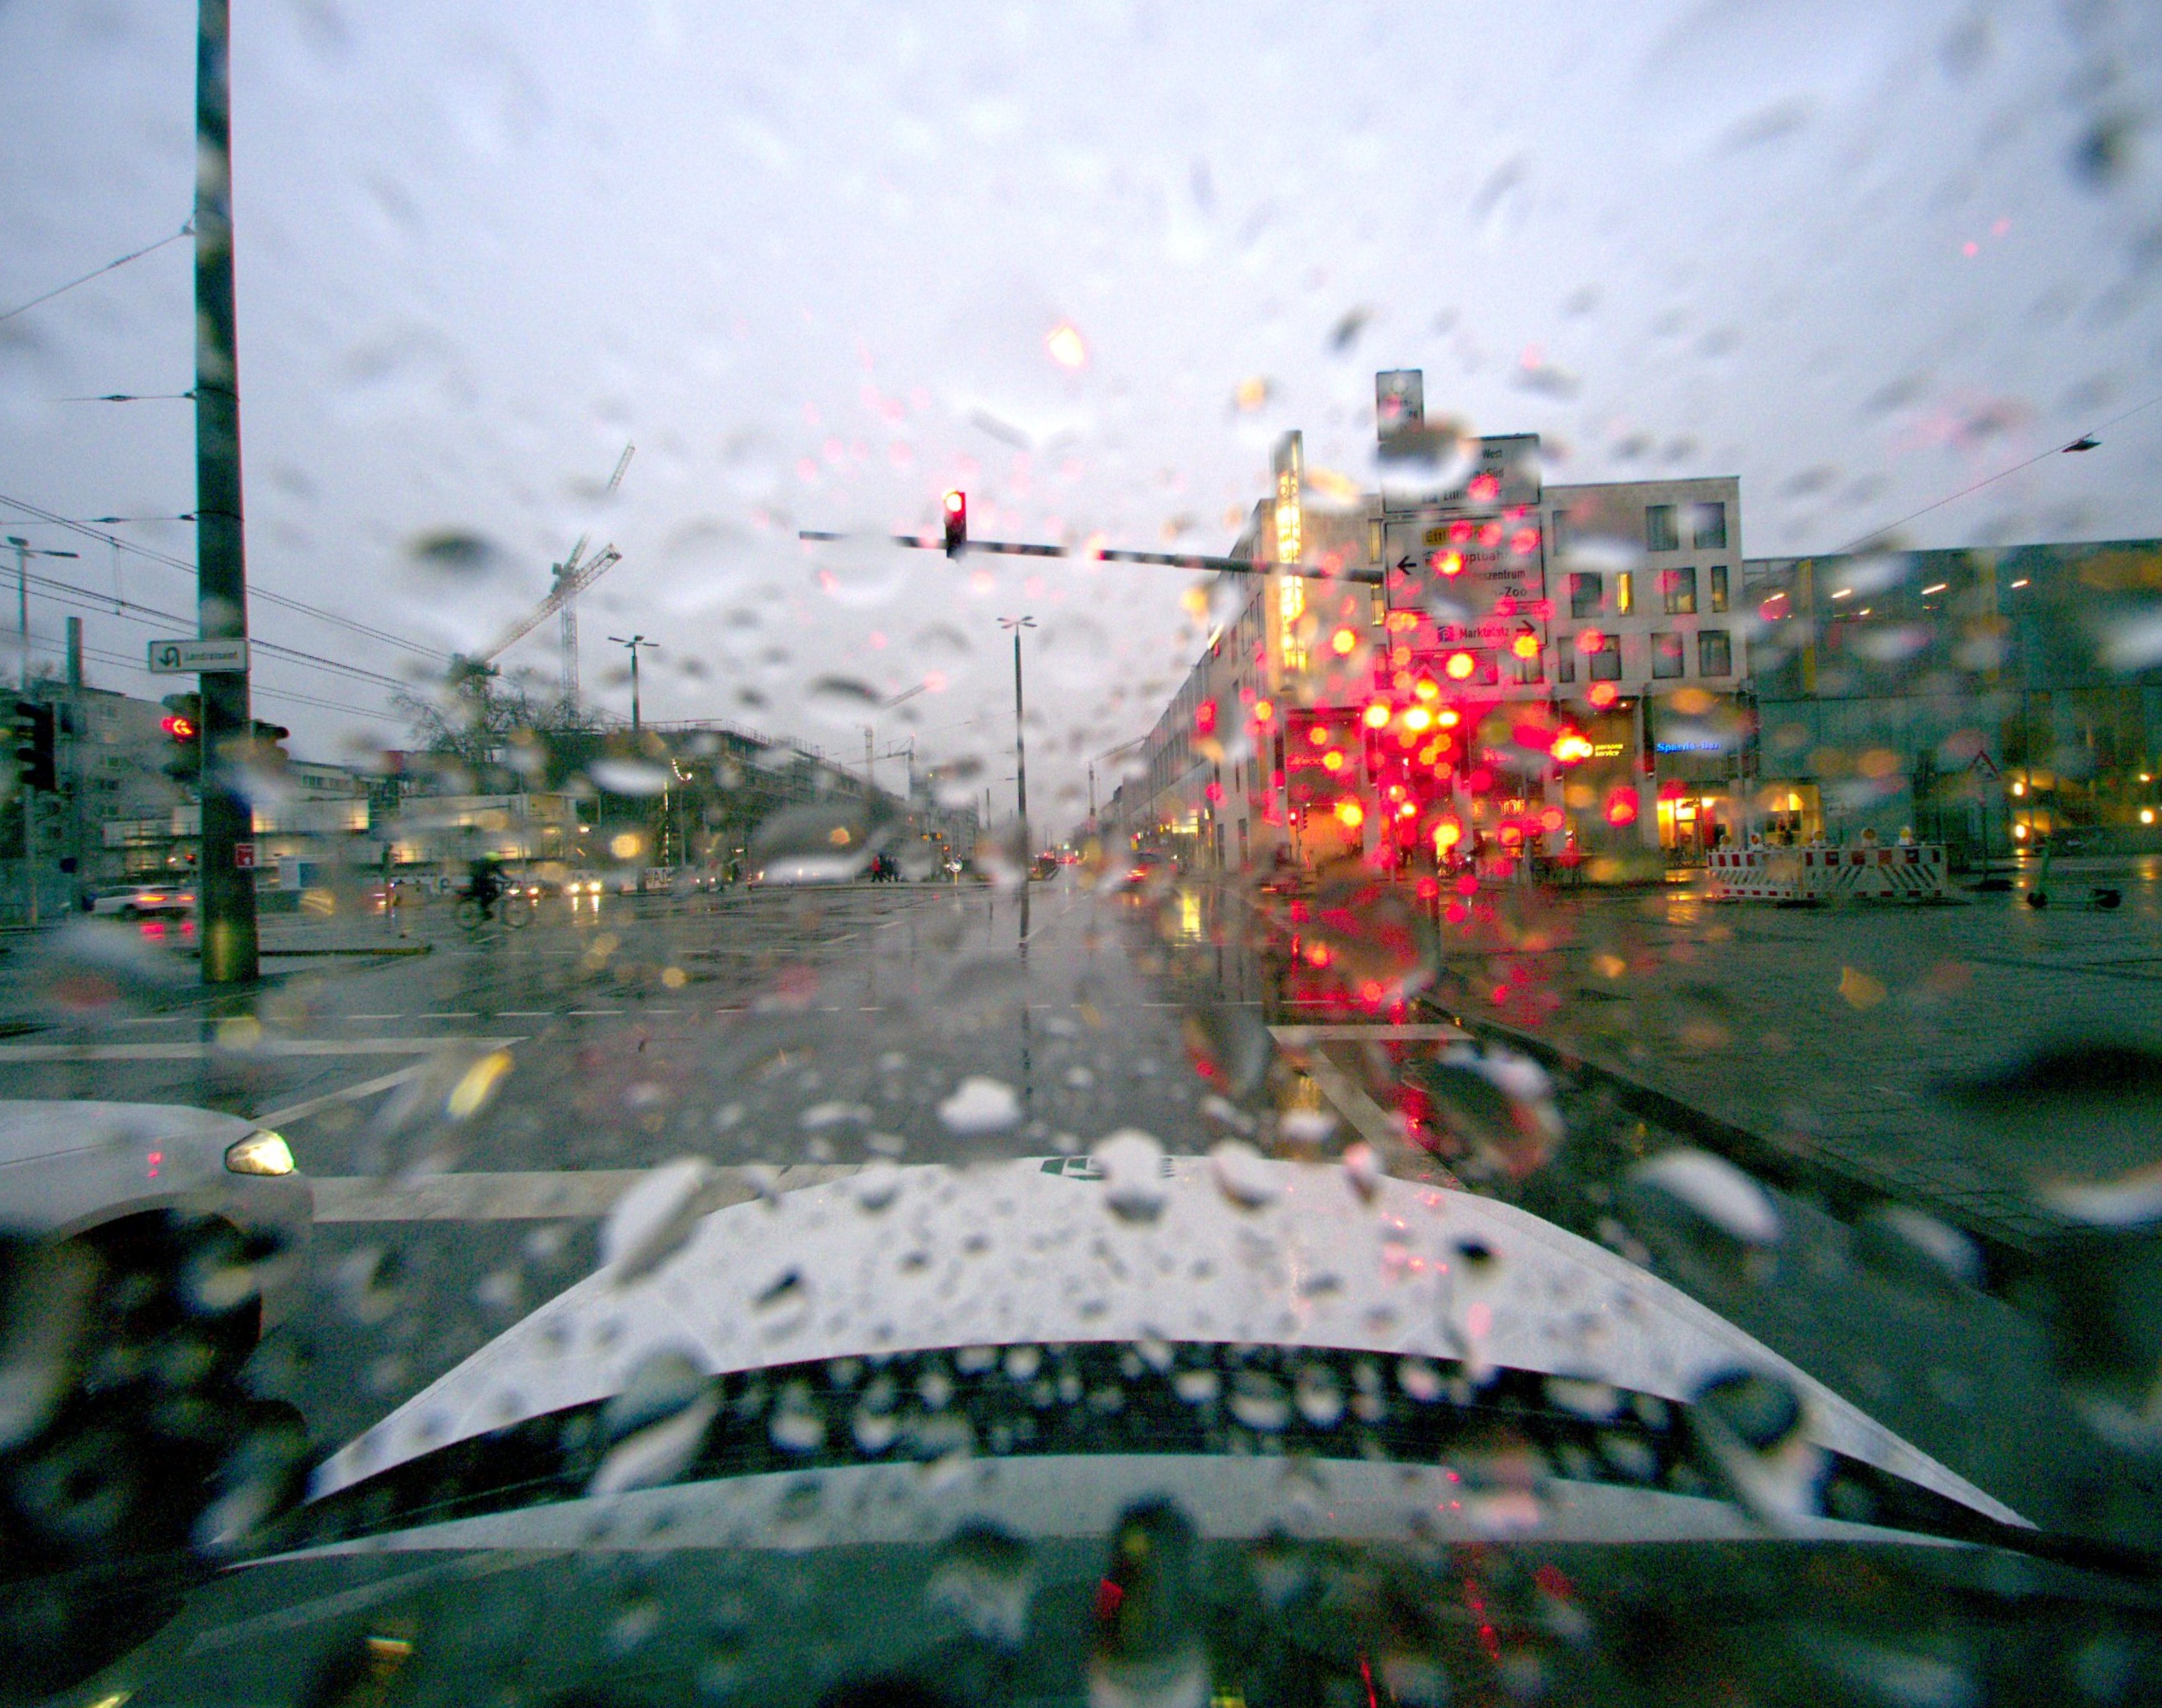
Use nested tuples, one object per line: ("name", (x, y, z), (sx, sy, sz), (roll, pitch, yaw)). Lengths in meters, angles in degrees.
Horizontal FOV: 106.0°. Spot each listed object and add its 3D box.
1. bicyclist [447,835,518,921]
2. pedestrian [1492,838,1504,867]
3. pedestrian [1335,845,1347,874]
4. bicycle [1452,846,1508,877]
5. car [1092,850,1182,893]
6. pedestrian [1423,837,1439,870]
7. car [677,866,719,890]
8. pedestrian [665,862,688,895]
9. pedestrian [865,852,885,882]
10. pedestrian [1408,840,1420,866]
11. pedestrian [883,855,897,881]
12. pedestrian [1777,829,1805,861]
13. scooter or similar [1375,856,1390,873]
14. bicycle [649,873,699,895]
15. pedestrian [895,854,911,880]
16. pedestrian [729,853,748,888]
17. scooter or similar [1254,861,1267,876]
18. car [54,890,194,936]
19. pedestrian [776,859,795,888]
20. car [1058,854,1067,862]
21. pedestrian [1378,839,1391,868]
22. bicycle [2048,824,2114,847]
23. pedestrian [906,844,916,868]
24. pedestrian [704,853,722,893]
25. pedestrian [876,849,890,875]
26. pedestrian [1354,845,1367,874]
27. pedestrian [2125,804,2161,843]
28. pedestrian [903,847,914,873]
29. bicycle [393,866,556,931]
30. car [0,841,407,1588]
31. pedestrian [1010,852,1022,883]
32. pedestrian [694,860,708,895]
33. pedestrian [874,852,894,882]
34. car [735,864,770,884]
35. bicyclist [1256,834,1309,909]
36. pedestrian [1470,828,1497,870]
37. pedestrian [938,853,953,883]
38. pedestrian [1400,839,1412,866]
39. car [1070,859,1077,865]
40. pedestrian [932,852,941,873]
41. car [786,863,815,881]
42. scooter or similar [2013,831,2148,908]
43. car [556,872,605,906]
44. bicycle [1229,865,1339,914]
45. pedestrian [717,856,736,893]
("bicyclist", (-13.040, 0.520, 17.764), (0.993, 1.839, 0.719), (0, -1, -8))
("pedestrian", (25.065, -0.082, 48.912), (0.508, 1.760, 0.376), (-2, -1, 14))
("pedestrian", (15.955, 0.338, 49.942), (0.530, 1.718, 0.505), (-3, -1, 39))
("bicycle", (15.384, 0.293, 31.430), (1.831, 1.093, 0.620), (-2, -1, 16))
("car", (2.259, 0.709, 33.445), (3.557, 1.582, 1.676), (-2, -1, 0))
("pedestrian", (18.014, -0.038, 41.906), (0.530, 1.685, 0.552), (-3, -1, 39))
("car", (-34.662, 2.133, 73.799), (1.988, 2.013, 3.997), (-2, 0, -2))
("pedestrian", (-19.249, 1.174, 38.773), (0.811, 1.570, 0.536), (-2, -3, 2))
("pedestrian", (-11.771, 0.762, 46.556), (0.823, 1.679, 0.623), (-2, -1, 28))
("pedestrian", (22.193, -0.080, 54.276), (0.530, 1.718, 0.505), (-3, -1, 39))
("pedestrian", (-11.891, 0.865, 50.693), (0.614, 1.619, 0.703), (-2, -1, -26))
("pedestrian", (36.056, -0.456, 41.369), (0.791, 1.631, 0.709), (-1, -1, 1))
("scooter or similar", (17.988, 0.649, 48.632), (0.738, 0.993, 0.401), (-2, -1, 3))
("bicycle", (-19.389, 1.431, 38.831), (2.120, 0.992, 0.541), (-2, -5, 2))
("pedestrian", (-11.071, 0.813, 50.639), (0.748, 1.607, 0.804), (-2, -1, -32))
("pedestrian", (-20.132, 0.977, 47.852), (0.792, 2.013, 0.745), (-2, -1, -9))
("scooter or similar", (11.265, 0.915, 51.155), (0.738, 0.916, 0.401), (-2, -1, 3))
("car", (-42.384, 2.601, 36.129), (4.284, 1.761, 1.708), (-2, 0, 3))
("pedestrian", (-17.018, 1.118, 46.973), (0.700, 1.619, 0.684), (-2, -1, 25))
("car", (-4.609, 0.936, 202.465), (1.986, 2.014, 4.001), (-1, -1, 2))
("pedestrian", (18.132, -0.044, 48.702), (0.530, 1.718, 0.505), (-3, -1, 39))
("bicycle", (48.556, -0.866, 39.570), (0.613, 1.033, 2.138), (-2, 0, 3))
("pedestrian", (-12.431, 0.142, 59.604), (0.660, 1.746, 0.733), (-2, -1, -9))
("pedestrian", (-20.025, 1.029, 44.284), (0.691, 2.087, 0.606), (-2, -1, -39))
("pedestrian", (-13.321, 0.544, 54.701), (0.613, 1.746, 0.617), (-3, -1, 43))
("pedestrian", (17.032, 0.323, 49.670), (0.530, 1.718, 0.505), (-3, -1, 39))
("pedestrian", (56.665, -1.589, 43.326), (0.901, 2.014, 1.023), (-1, -1, 1))
("pedestrian", (-11.748, 0.389, 55.386), (0.617, 1.746, 0.612), (-2, -1, -4))
("bicycle", (-13.169, 0.951, 17.771), (2.829, 1.362, 0.719), (0, -1, -8))
("car", (-3.188, 0.761, 0.180), (1.903, 1.520, 4.923), (-2, 0, 0))
("pedestrian", (-3.815, 0.785, 47.938), (0.631, 1.772, 0.484), (-2, -1, 0))
("pedestrian", (-22.244, 1.387, 47.653), (0.507, 2.013, 0.638), (-2, 0, -9))
("pedestrian", (-11.398, 0.744, 47.150), (0.835, 1.688, 0.681), (-2, -1, 29))
("car", (-35.595, 2.123, 88.396), (1.986, 2.013, 4.002), (-2, 0, 2))
("bicyclist", (4.681, 0.400, 18.949), (1.029, 1.697, 0.618), (-2, -1, 2))
("pedestrian", (15.522, -0.186, 31.394), (0.775, 1.595, 0.616), (-2, -1, 17))
("pedestrian", (-7.987, 0.833, 47.969), (0.700, 1.760, 0.652), (-2, -1, 1))
("pedestrian", (20.957, -0.092, 52.589), (0.530, 1.718, 0.505), (-3, -1, 39))
("car", (-2.268, 2.303, 234.963), (1.881, 1.783, 3.715), (-1, -1, 2))
("pedestrian", (-12.117, 0.711, 68.479), (0.660, 1.746, 0.619), (-2, -1, -9))
("car", (-34.214, 2.170, 99.531), (1.986, 2.013, 4.002), (-2, 0, 2))
("scooter or similar", (15.814, 0.237, 12.929), (0.603, 1.130, 1.236), (-2, 0, 2))
("car", (-33.115, 2.274, 54.023), (1.760, 2.013, 3.977), (-2, 0, -17))
("bicycle", (4.698, 0.819, 18.935), (2.363, 1.033, 0.618), (-2, -1, 1))
("pedestrian", (-19.635, 1.139, 45.083), (0.781, 2.013, 0.606), (-2, -1, -37))
